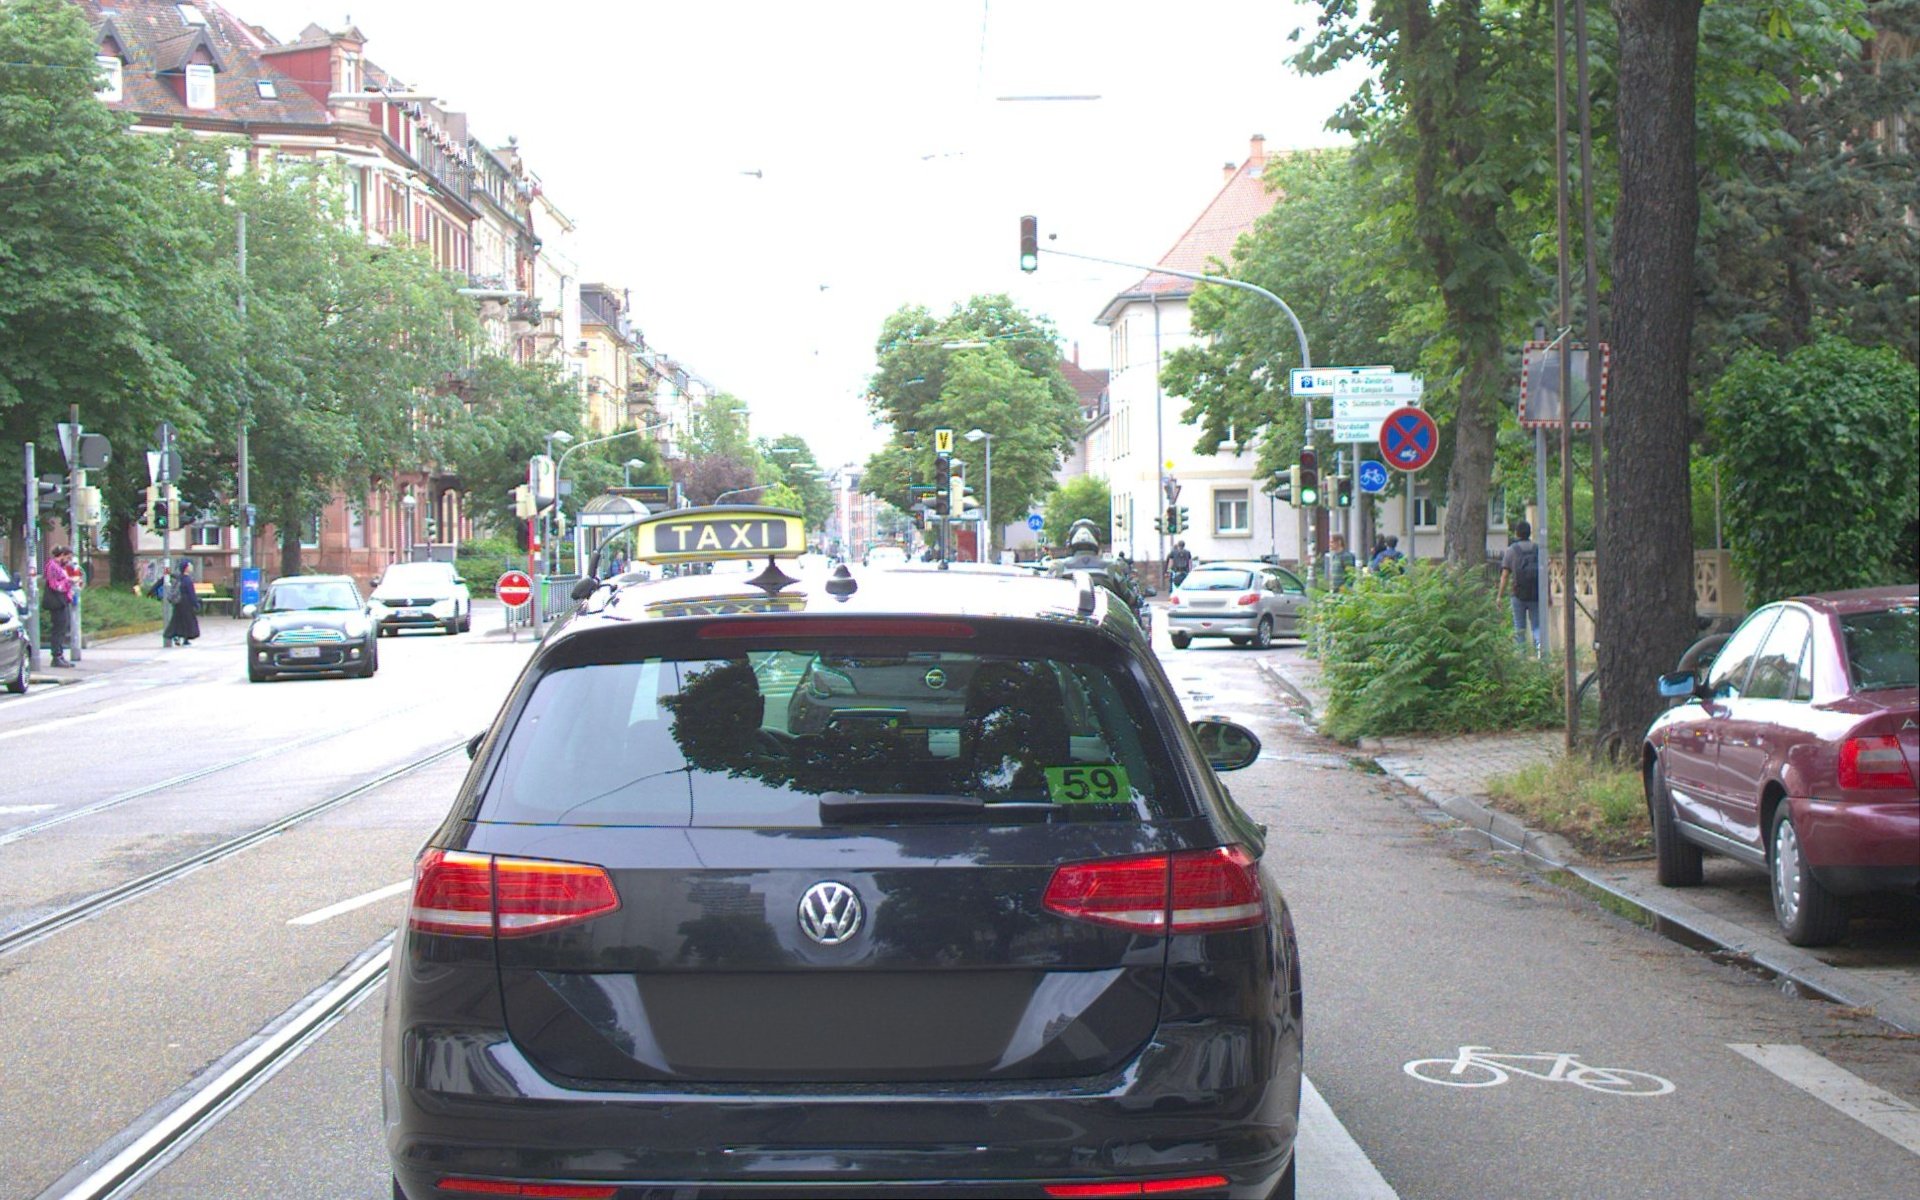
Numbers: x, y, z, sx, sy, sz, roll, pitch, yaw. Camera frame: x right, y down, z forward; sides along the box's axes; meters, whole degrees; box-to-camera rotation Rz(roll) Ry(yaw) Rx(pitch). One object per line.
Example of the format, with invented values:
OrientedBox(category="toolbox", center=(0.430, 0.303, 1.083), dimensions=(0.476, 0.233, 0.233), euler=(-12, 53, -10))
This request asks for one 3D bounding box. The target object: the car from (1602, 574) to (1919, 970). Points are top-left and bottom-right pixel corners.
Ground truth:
OrientedBox(category="car", center=(4.035, 0.625, 14.938), dimensions=(1.602, 1.394, 4.227), euler=(-2, 1, -1))

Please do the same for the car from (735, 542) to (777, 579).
OrientedBox(category="car", center=(-9.182, -1.801, 155.059), dimensions=(1.721, 1.617, 3.864), euler=(-1, 1, -1))

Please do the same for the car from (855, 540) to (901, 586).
OrientedBox(category="car", center=(-3.681, -1.650, 154.954), dimensions=(2.033, 2.007, 4.000), euler=(1, 0, -1))

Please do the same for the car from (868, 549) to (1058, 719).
OrientedBox(category="car", center=(0.003, 0.281, 33.119), dimensions=(1.723, 1.541, 4.000), euler=(0, 1, -1))

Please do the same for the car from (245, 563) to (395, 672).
OrientedBox(category="car", center=(-8.863, 0.218, 47.844), dimensions=(1.608, 1.417, 3.487), euler=(-1, 1, -4))

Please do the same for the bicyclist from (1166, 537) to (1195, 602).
OrientedBox(category="bicyclist", center=(5.395, -0.743, 84.072), dimensions=(0.651, 1.563, 0.695), euler=(0, 1, 6))

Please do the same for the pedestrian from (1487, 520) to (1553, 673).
OrientedBox(category="pedestrian", center=(6.696, -0.042, 41.147), dimensions=(0.632, 1.808, 0.726), euler=(0, 1, -3))

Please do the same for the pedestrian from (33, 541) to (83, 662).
OrientedBox(category="pedestrian", center=(-13.789, 0.013, 52.575), dimensions=(0.623, 1.836, 0.610), euler=(0, 1, -3))

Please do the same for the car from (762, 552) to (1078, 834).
OrientedBox(category="car", center=(-0.243, 0.480, 20.776), dimensions=(1.723, 1.541, 4.000), euler=(0, 1, -1))

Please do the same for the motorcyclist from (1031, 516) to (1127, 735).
OrientedBox(category="motorcyclist", center=(0.928, 0.189, 26.988), dimensions=(0.703, 1.686, 0.804), euler=(0, 1, -1))

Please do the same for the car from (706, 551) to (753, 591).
OrientedBox(category="car", center=(-9.406, -1.190, 140.473), dimensions=(1.721, 1.617, 3.864), euler=(-1, 1, -1))

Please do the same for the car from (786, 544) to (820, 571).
OrientedBox(category="car", center=(-9.638, -2.629, 211.081), dimensions=(1.795, 1.590, 4.000), euler=(-1, 1, 2))

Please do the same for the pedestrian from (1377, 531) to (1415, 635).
OrientedBox(category="pedestrian", center=(7.784, -0.308, 61.421), dimensions=(0.514, 1.824, 0.417), euler=(-3, 1, 16))

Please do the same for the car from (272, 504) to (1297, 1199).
OrientedBox(category="car", center=(-0.320, 0.583, 7.795), dimensions=(1.723, 1.541, 4.000), euler=(0, 1, -1))

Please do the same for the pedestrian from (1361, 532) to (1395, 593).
OrientedBox(category="pedestrian", center=(10.559, -0.946, 86.888), dimensions=(0.608, 1.548, 0.583), euler=(0, 1, -40))

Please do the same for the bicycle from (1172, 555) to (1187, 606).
OrientedBox(category="bicycle", center=(5.361, -0.475, 83.935), dimensions=(0.297, 1.219, 1.430), euler=(0, 1, 7))

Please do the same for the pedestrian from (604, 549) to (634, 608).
OrientedBox(category="pedestrian", center=(-8.856, -0.568, 89.299), dimensions=(0.714, 1.515, 0.590), euler=(0, 1, 1))

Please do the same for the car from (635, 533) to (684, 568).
OrientedBox(category="car", center=(-14.074, -2.323, 161.346), dimensions=(1.993, 1.590, 4.000), euler=(-1, 1, -1))

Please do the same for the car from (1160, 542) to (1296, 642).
OrientedBox(category="car", center=(4.499, -0.136, 57.264), dimensions=(1.994, 1.572, 3.999), euler=(1, 0, 8))

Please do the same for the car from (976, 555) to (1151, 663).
OrientedBox(category="car", center=(1.479, 0.093, 47.593), dimensions=(1.892, 1.403, 3.999), euler=(-1, 1, 9))

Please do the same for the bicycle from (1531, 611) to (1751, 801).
OrientedBox(category="bicycle", center=(4.483, 0.680, 22.539), dimensions=(0.433, 1.194, 1.899), euler=(0, 0, 45))

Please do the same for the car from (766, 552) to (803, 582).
OrientedBox(category="car", center=(-8.778, -1.660, 172.436), dimensions=(1.721, 1.460, 3.864), euler=(-1, 1, -1))

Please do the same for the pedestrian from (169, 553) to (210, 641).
OrientedBox(category="pedestrian", center=(-14.643, -0.060, 65.337), dimensions=(0.589, 1.657, 0.839), euler=(0, 1, -1))

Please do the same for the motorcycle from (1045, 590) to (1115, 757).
OrientedBox(category="motorcycle", center=(0.926, 0.552, 26.856), dimensions=(0.446, 1.231, 1.907), euler=(0, 1, -1))

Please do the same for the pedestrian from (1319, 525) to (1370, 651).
OrientedBox(category="pedestrian", center=(5.680, -0.185, 50.853), dimensions=(0.585, 1.824, 0.604), euler=(-3, 0, 1))

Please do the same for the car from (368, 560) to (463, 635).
OrientedBox(category="car", center=(-11.321, -0.074, 71.654), dimensions=(1.698, 1.491, 3.931), euler=(-1, 1, -6))

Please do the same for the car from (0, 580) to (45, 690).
OrientedBox(category="car", center=(-13.019, 0.430, 44.046), dimensions=(1.648, 1.357, 4.130), euler=(2, 1, -3))

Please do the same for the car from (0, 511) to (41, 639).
OrientedBox(category="car", center=(-20.101, -0.474, 66.545), dimensions=(2.180, 2.409, 5.377), euler=(-1, 1, -43))
